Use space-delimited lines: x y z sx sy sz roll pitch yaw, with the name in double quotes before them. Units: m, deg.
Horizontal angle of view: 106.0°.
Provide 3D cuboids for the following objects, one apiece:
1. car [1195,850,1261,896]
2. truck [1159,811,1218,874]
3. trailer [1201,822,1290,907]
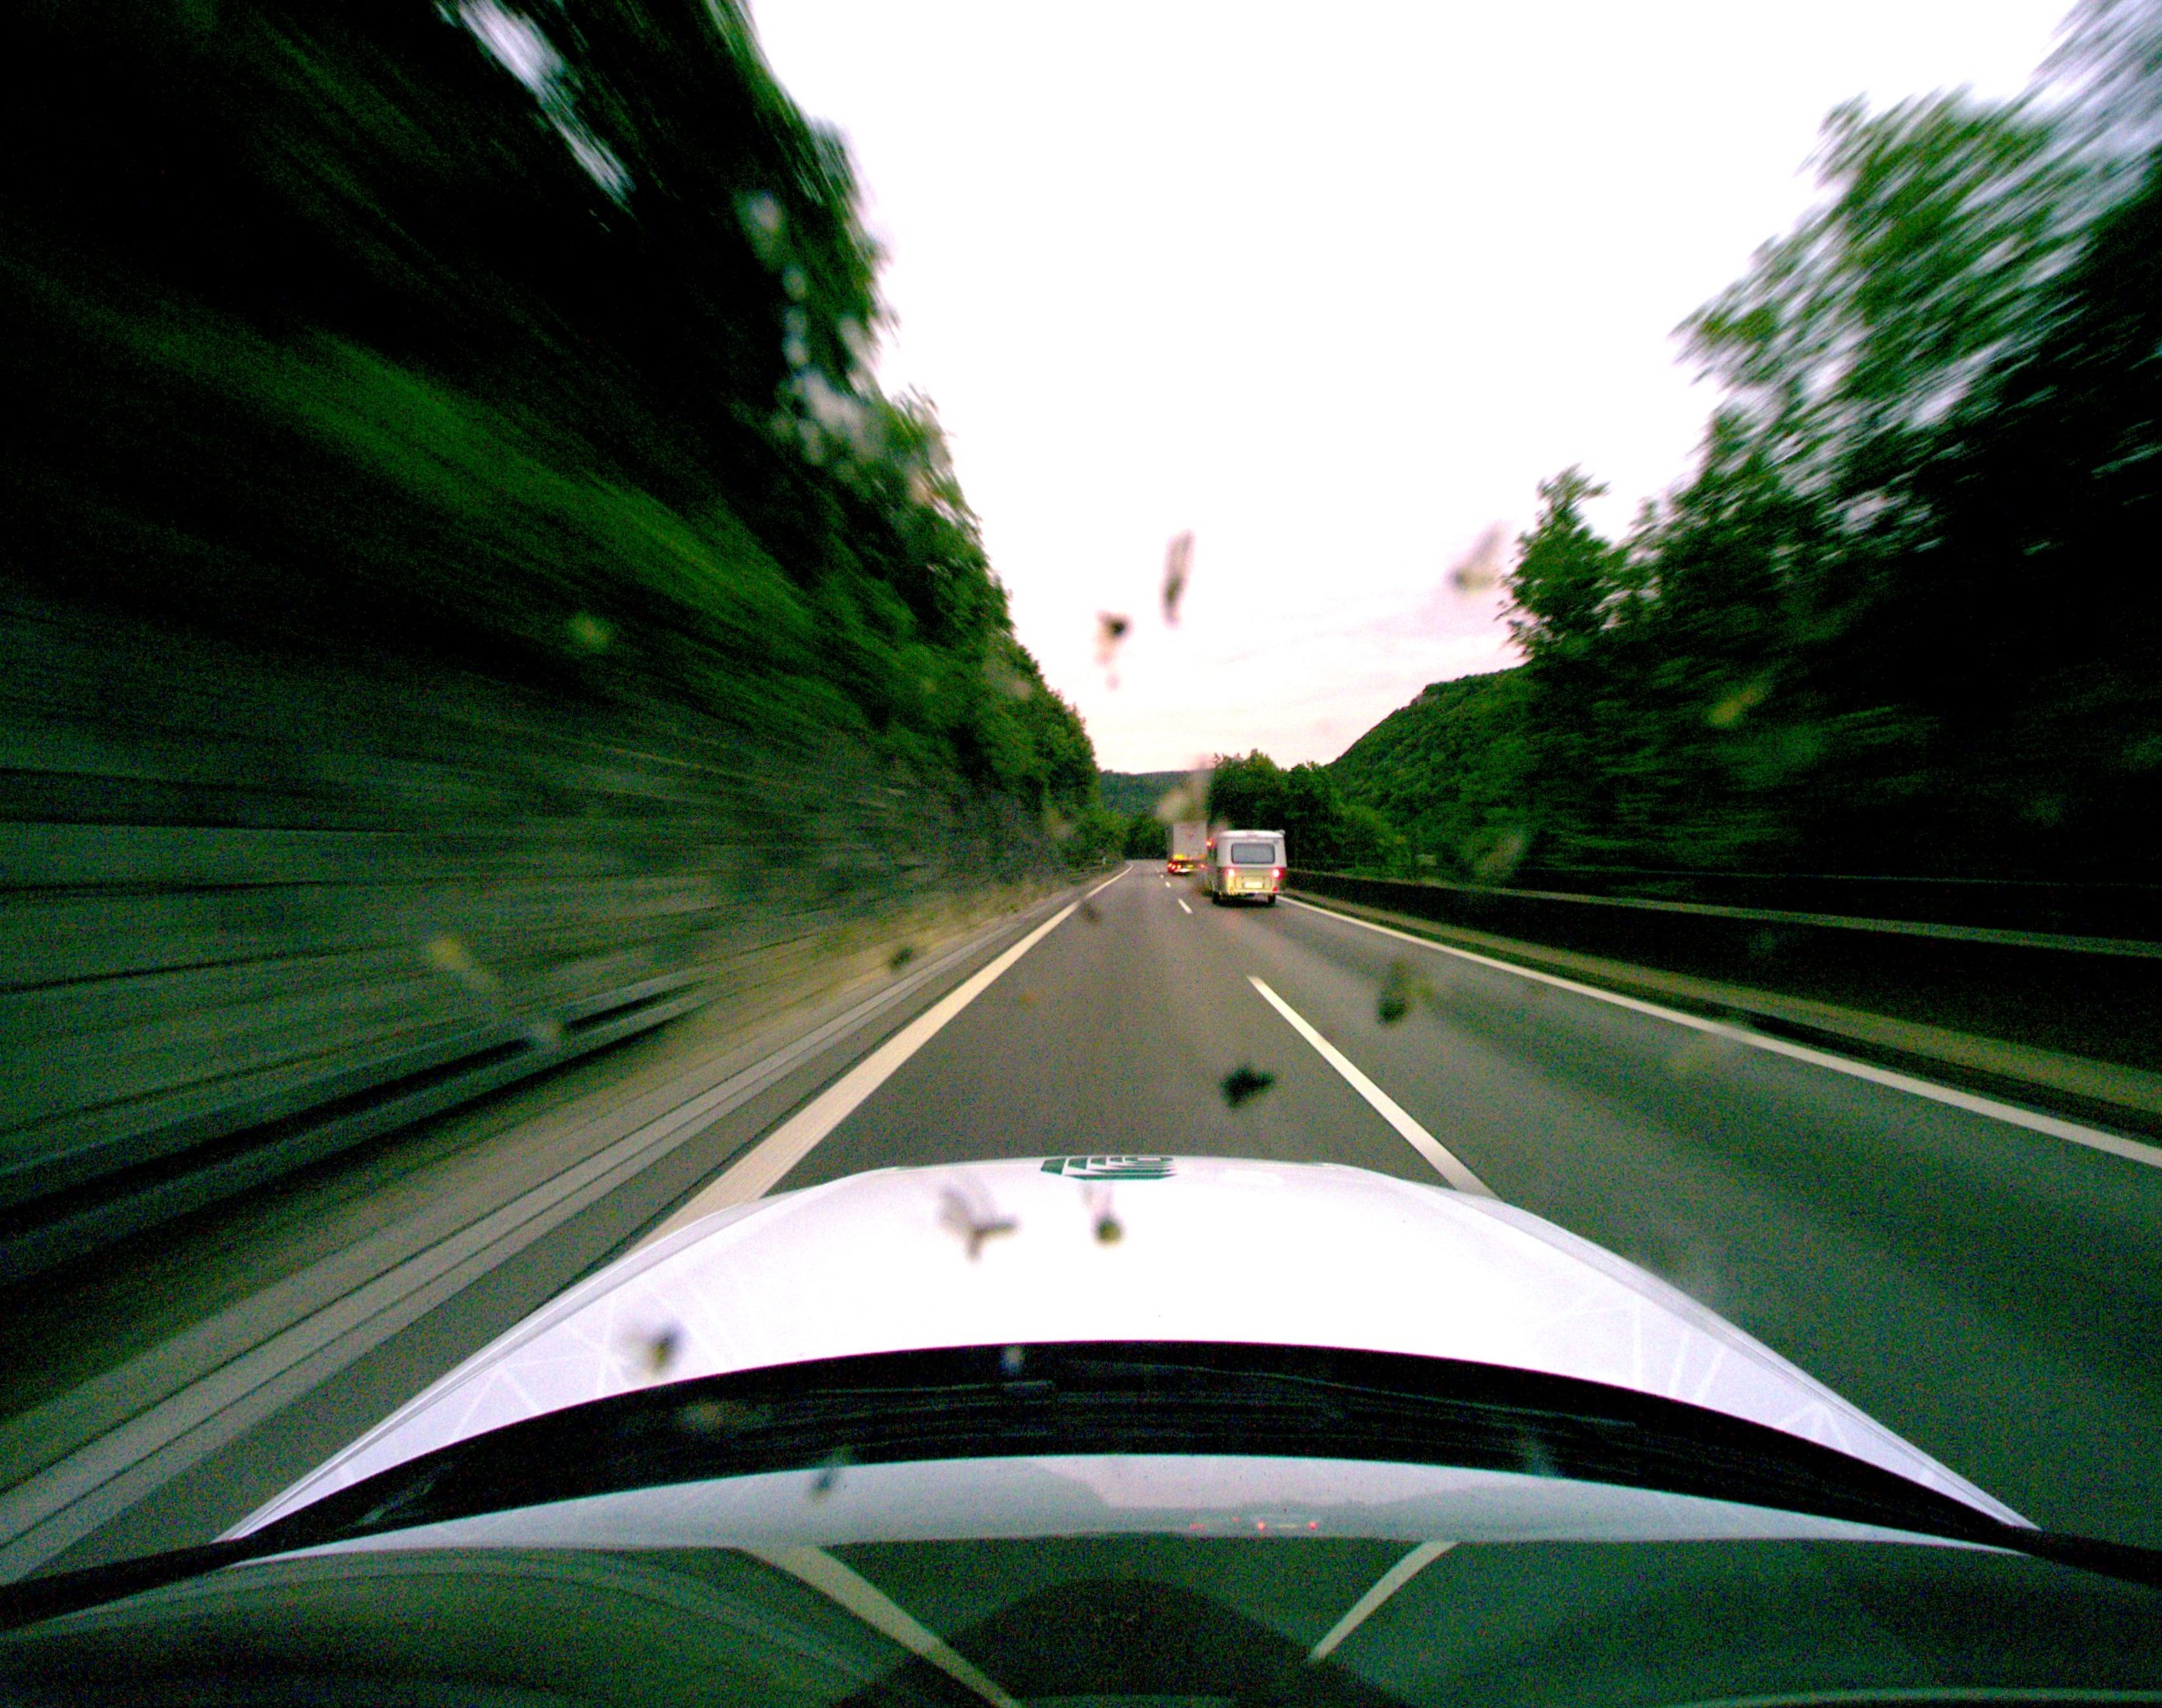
"car" 5.543 0.687 31.288 1.984 1.614 4.870 1 0 4
"truck" 8.347 -0.771 65.738 3.281 4.172 16.519 -6 -1 4
"trailer" 5.140 0.314 26.196 2.045 2.375 5.945 -1 0 4
